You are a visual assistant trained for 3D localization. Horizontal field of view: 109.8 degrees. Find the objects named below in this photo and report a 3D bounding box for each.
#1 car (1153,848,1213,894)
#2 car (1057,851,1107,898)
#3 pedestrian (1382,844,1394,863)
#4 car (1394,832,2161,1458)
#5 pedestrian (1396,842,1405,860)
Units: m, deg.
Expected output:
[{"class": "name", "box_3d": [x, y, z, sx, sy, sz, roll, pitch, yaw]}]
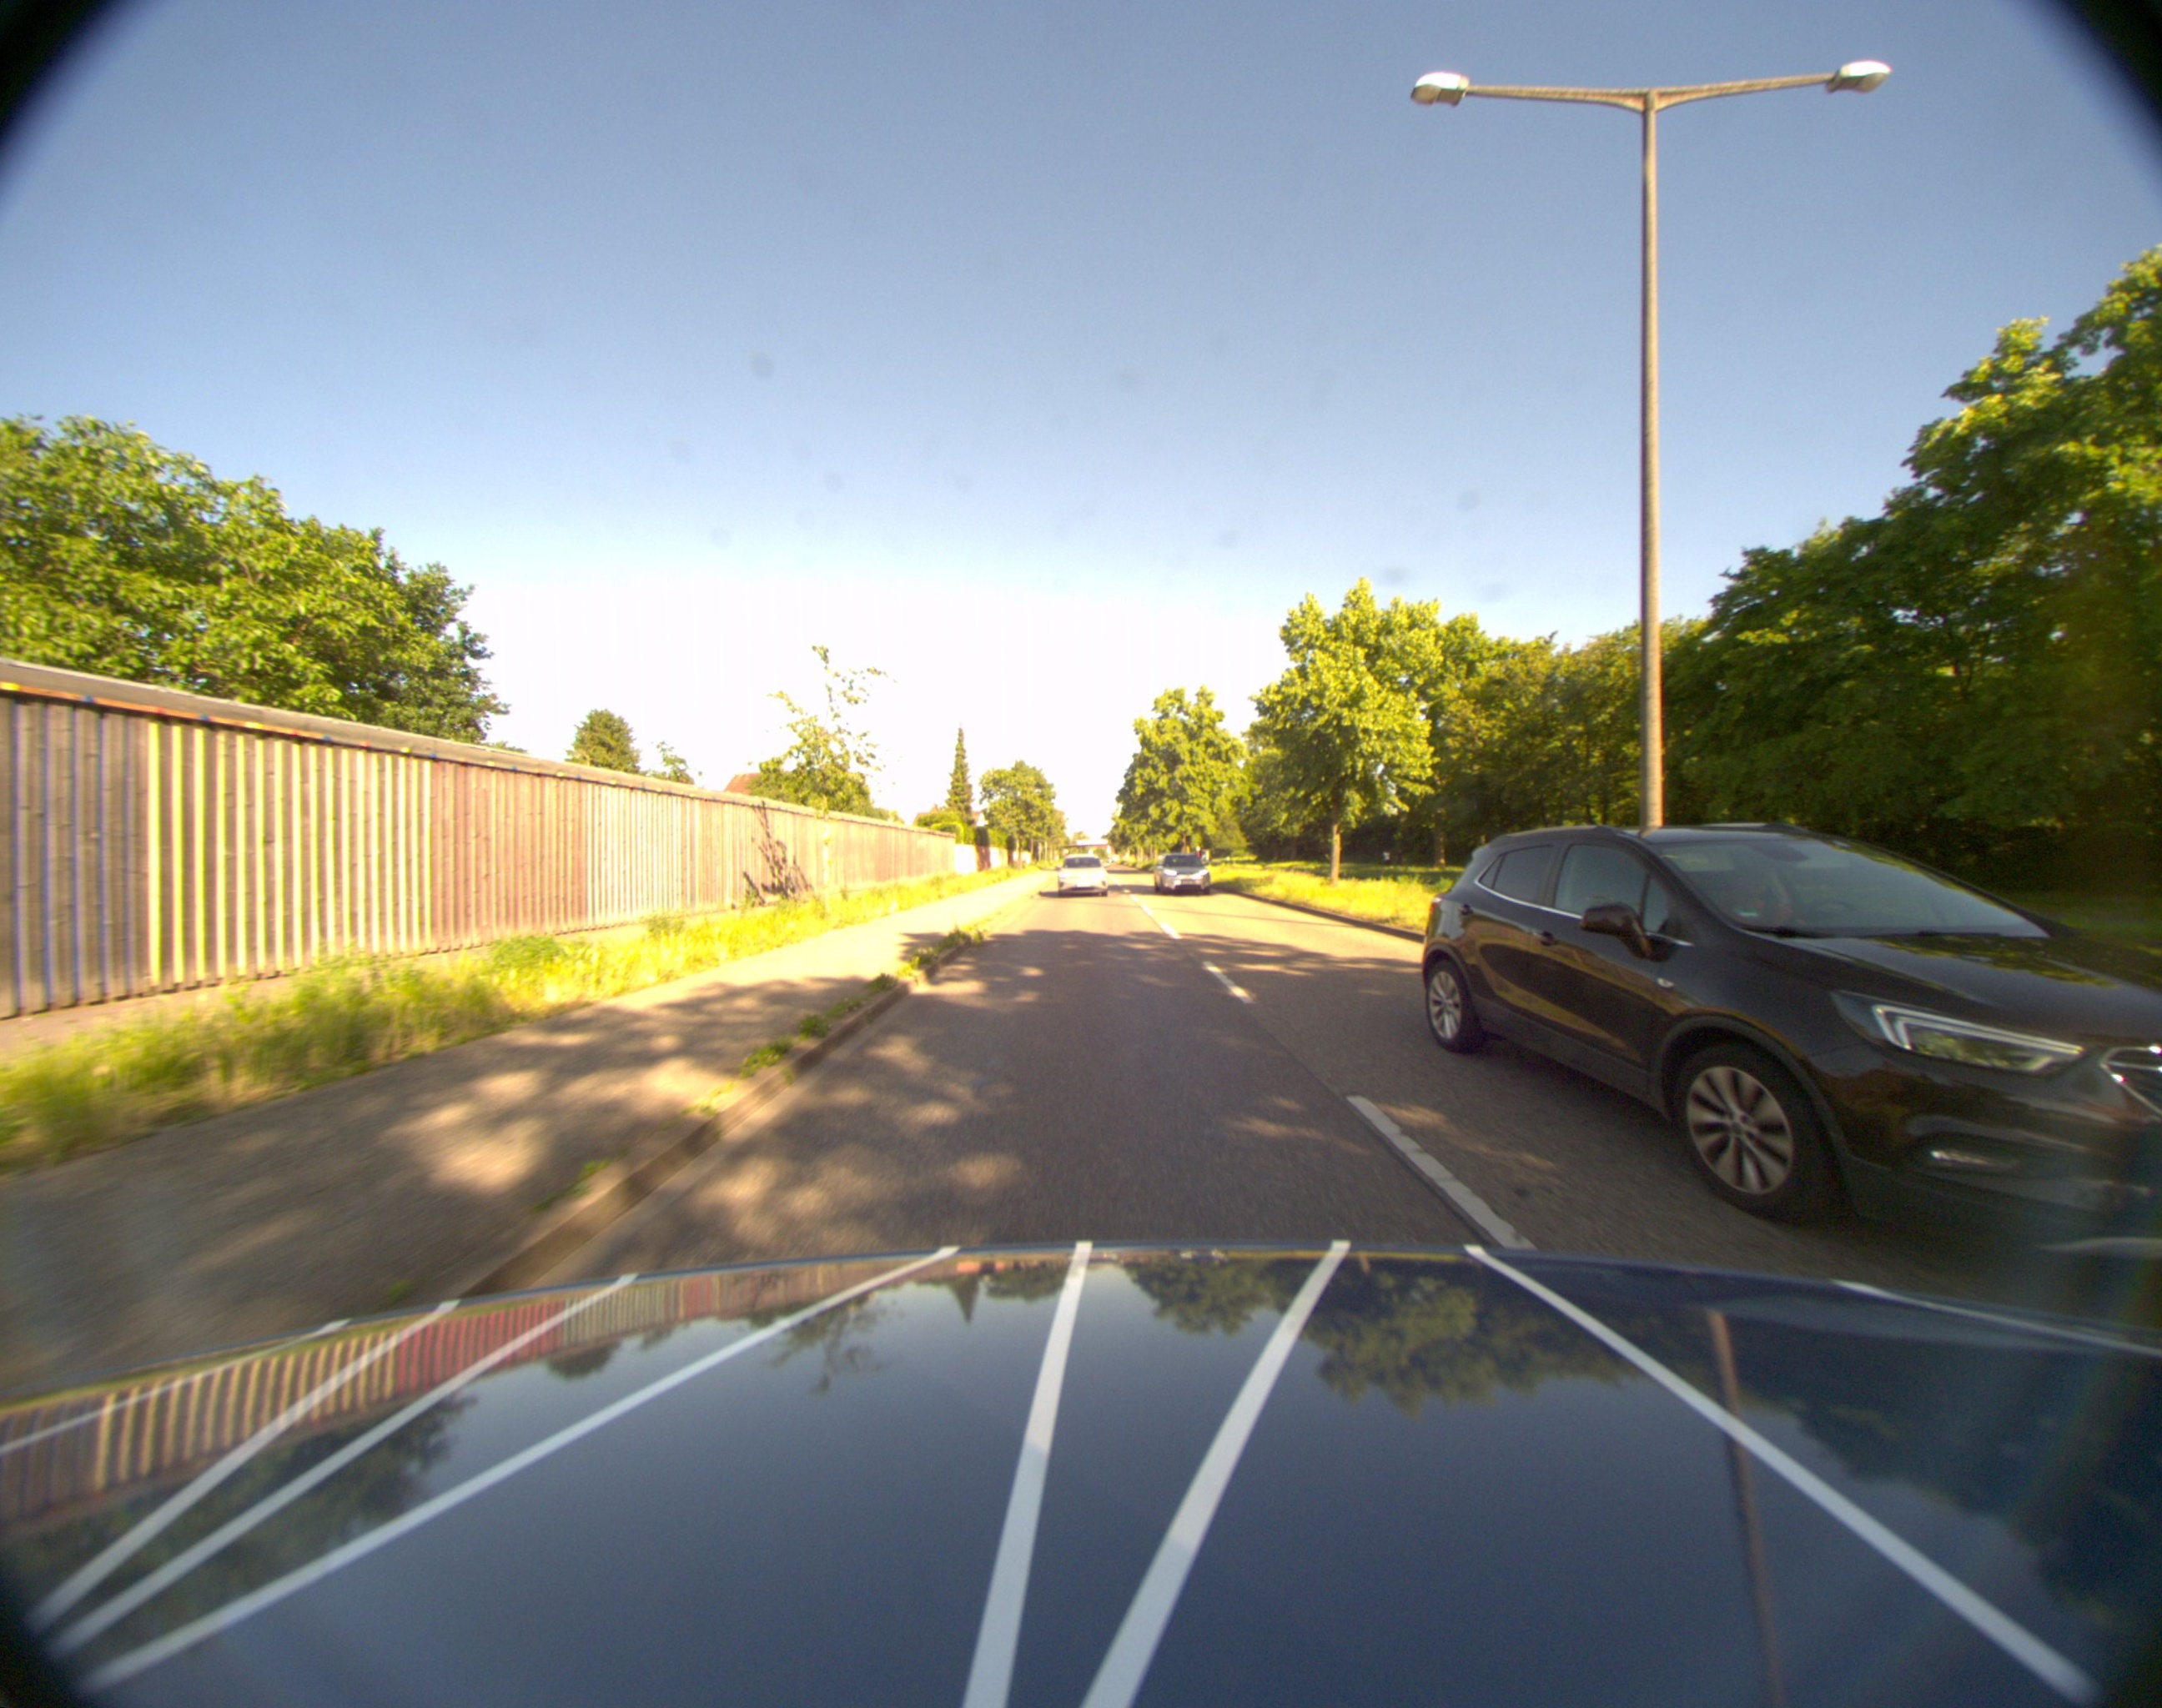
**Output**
[{"class": "car", "box_3d": [3.856, 0.600, 29.334, 1.789, 1.601, 4.105, -1, 1, 1]}, {"class": "car", "box_3d": [0.081, 0.741, 29.963, 1.766, 1.606, 4.296, -3, 1, 1]}, {"class": "pedestrian", "box_3d": [27.914, -0.038, 69.056, 0.683, 1.650, 0.679, -4, 2, 0]}, {"class": "car", "box_3d": [3.449, 0.727, 4.159, 1.700, 1.622, 4.417, -1, 1, 1]}, {"class": "pedestrian", "box_3d": [29.025, -0.297, 69.001, 0.561, 1.650, 0.540, -2, 1, 4]}]
